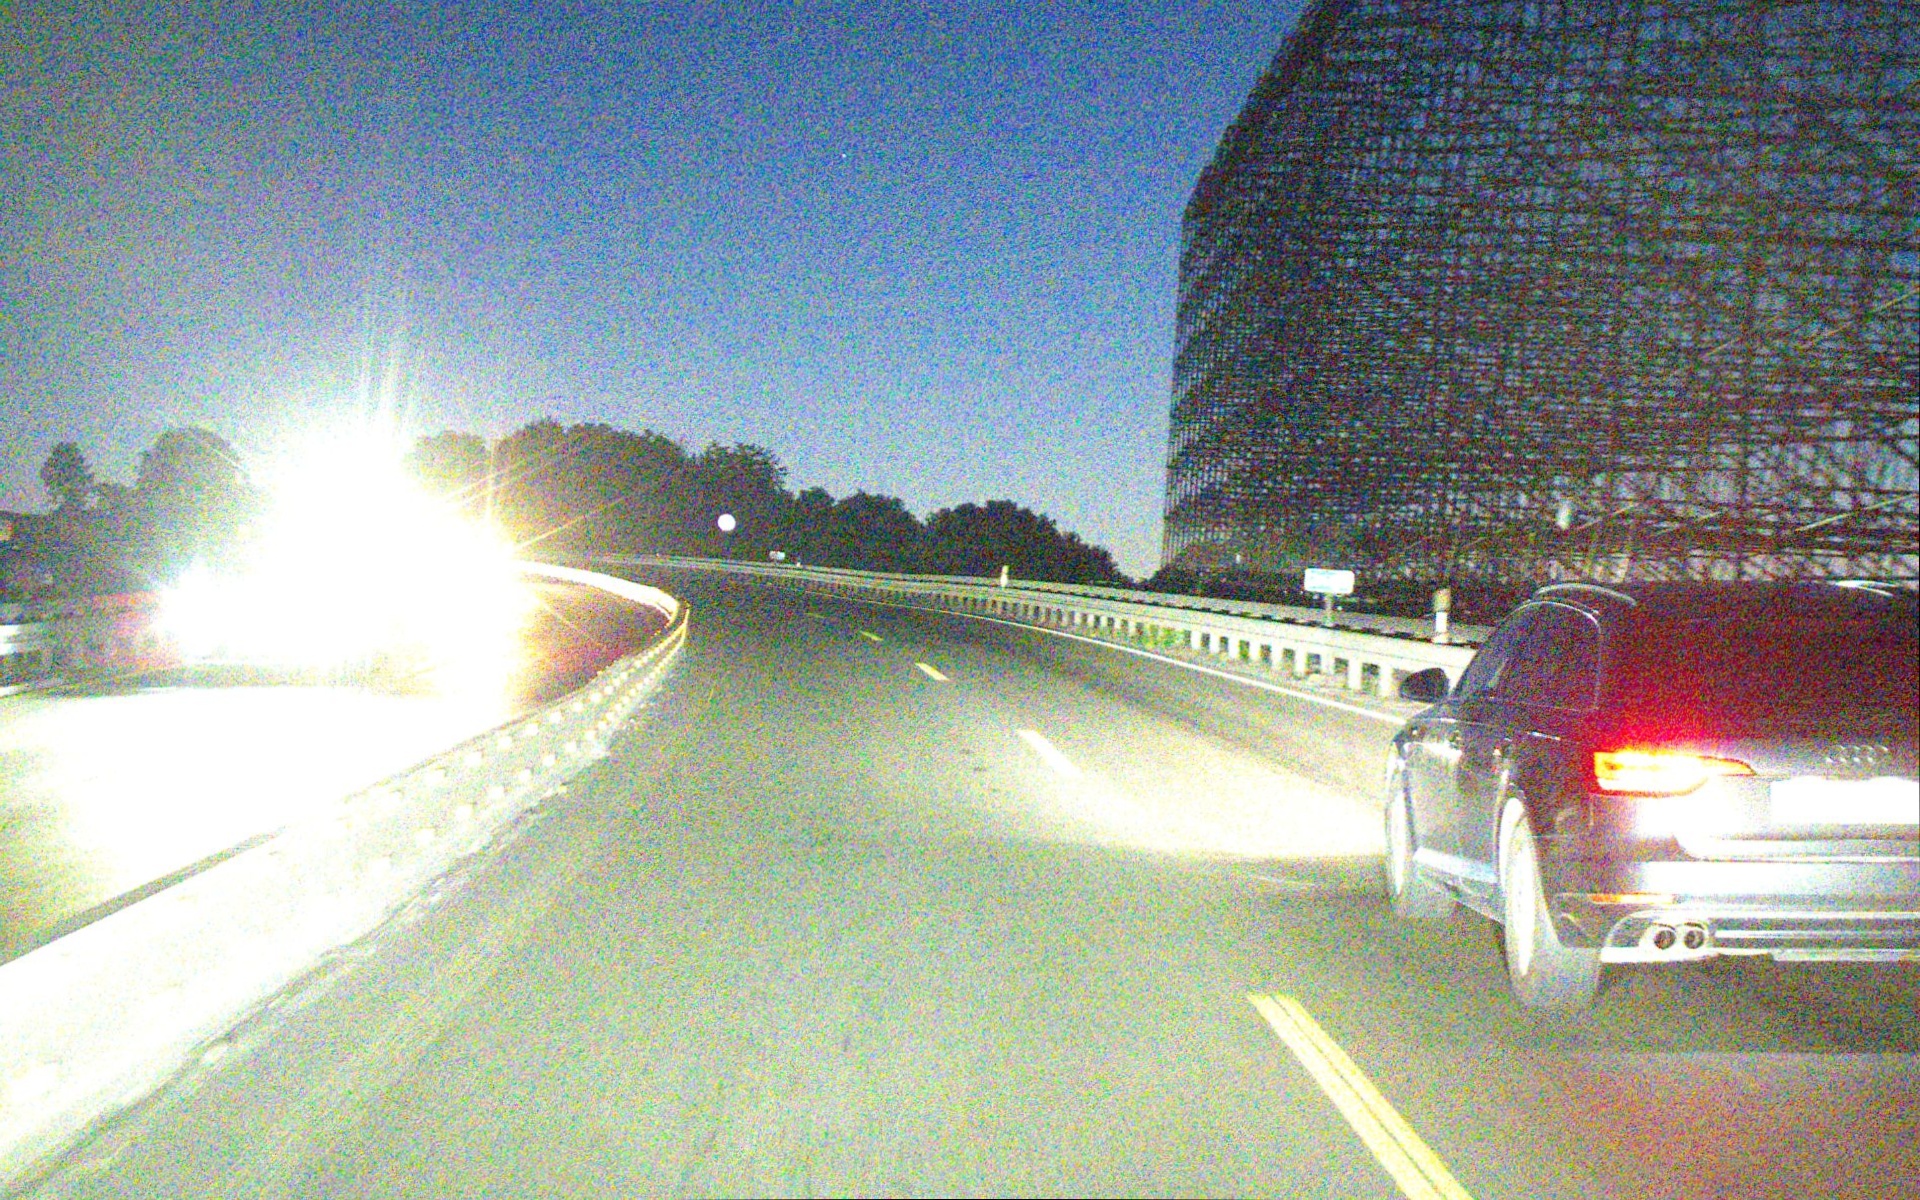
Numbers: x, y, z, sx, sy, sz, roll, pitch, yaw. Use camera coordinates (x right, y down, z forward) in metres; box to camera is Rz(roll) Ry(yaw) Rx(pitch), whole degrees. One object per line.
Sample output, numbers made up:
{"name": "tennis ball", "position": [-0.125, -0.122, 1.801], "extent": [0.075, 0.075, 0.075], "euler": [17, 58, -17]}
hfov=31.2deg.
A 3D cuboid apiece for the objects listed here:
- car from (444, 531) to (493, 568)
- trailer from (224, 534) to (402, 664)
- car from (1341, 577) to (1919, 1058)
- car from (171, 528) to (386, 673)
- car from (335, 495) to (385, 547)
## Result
{"name": "car", "position": [-19.691, -2.027, 137.685], "extent": [1.684, 1.454, 4.201], "euler": [0, 1, -12]}
{"name": "trailer", "position": [-8.465, -0.020, 45.216], "extent": [2.012, 1.634, 3.418], "euler": [0, 0, -6]}
{"name": "car", "position": [2.653, 0.649, 12.935], "extent": [1.808, 1.422, 4.875], "euler": [0, 1, -1]}
{"name": "car", "position": [-8.076, -0.005, 41.114], "extent": [2.013, 1.634, 4.863], "euler": [0, 0, -5]}
{"name": "car", "position": [-37.206, -4.859, 213.026], "extent": [2.485, 3.095, 7.387], "euler": [0, 0, -15]}
